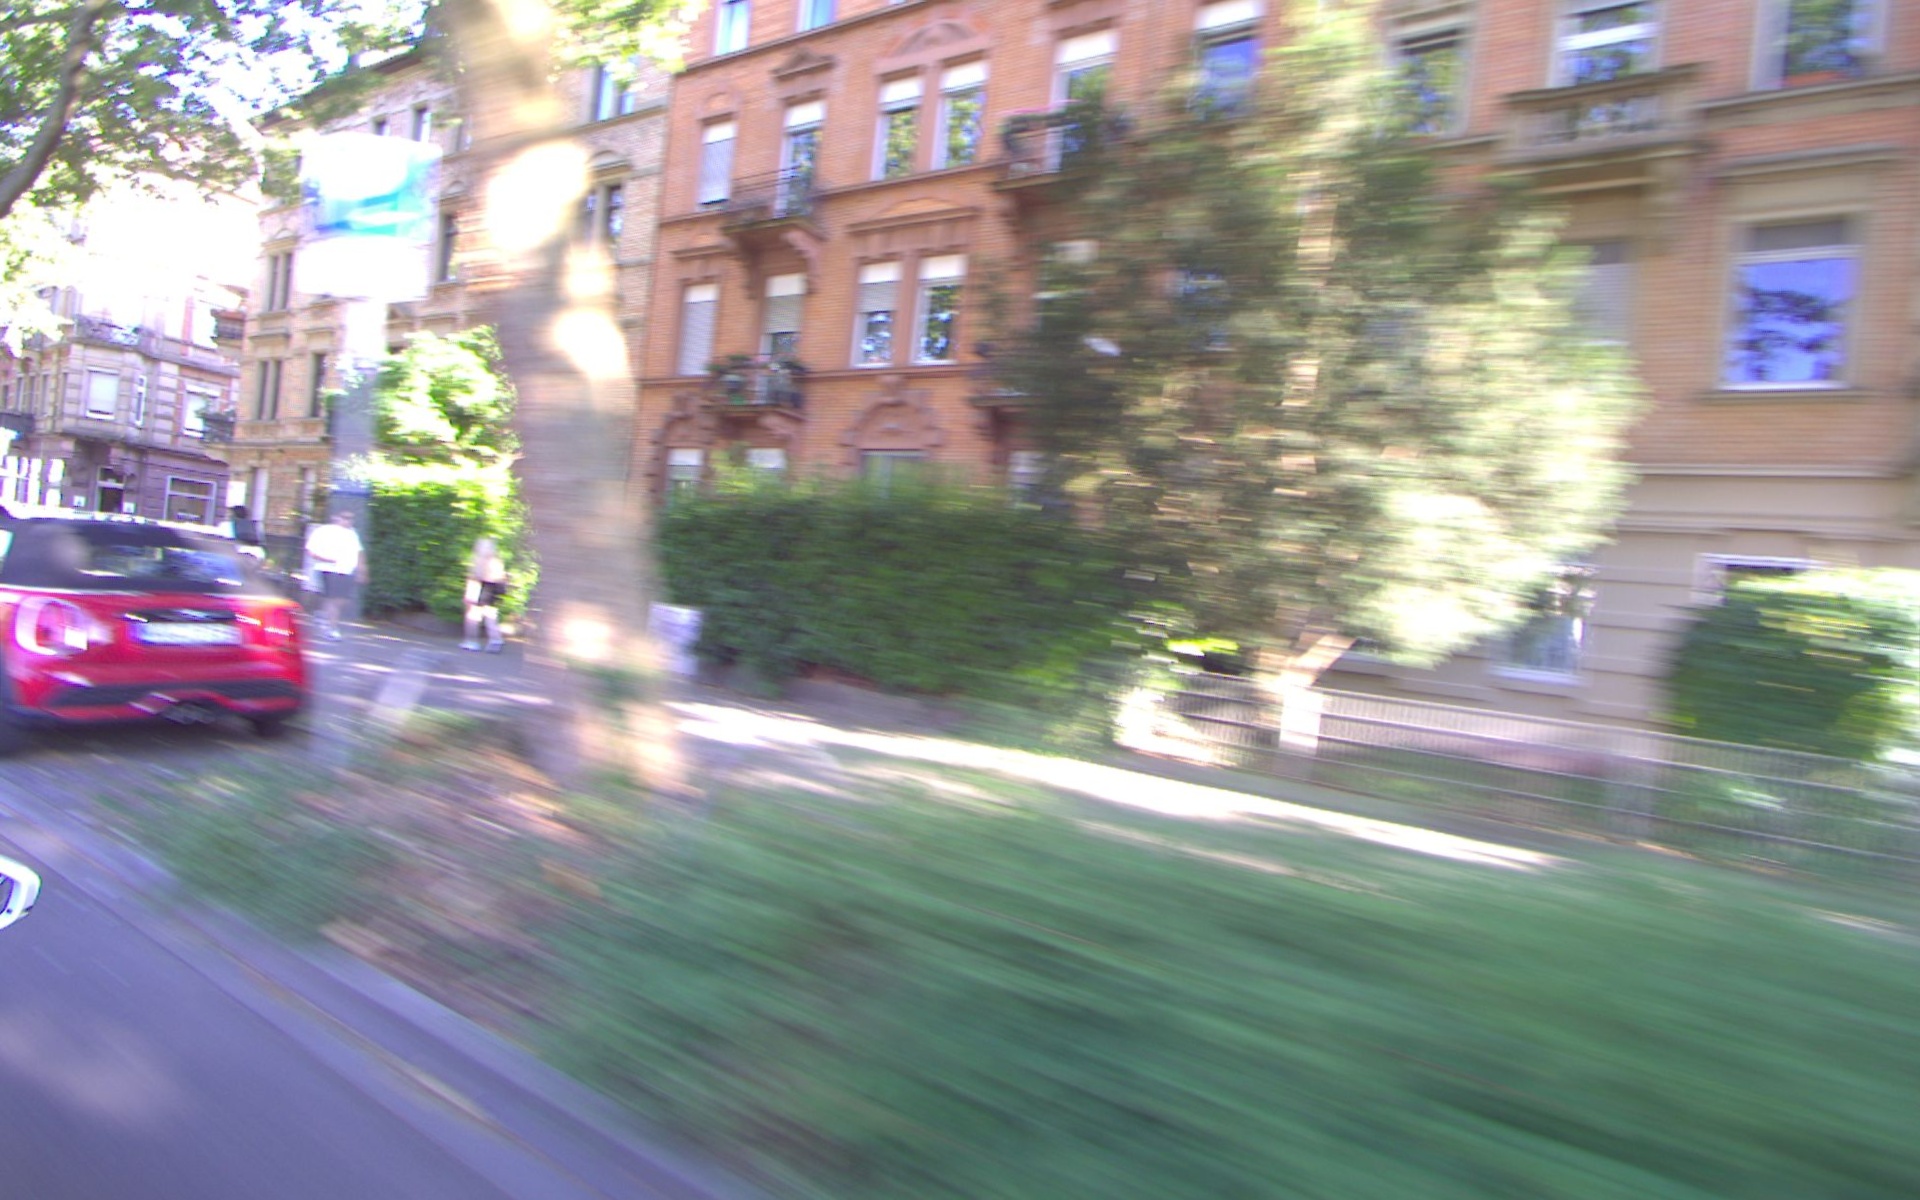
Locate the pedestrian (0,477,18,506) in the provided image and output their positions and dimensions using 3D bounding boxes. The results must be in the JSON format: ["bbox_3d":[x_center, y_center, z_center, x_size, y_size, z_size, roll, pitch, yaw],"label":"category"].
[{"bbox_3d":[-40.404,-4.617,42.623,0.517,1.153,0.556,7,2,32],"label":"pedestrian"}]

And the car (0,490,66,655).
[{"bbox_3d":[-11.213,-0.450,10.474,4.427,1.570,1.714,6,3,33],"label":"car"}]

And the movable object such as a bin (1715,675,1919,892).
[{"bbox_3d":[7.078,1.458,8.351,1.066,1.485,0.906,7,4,32],"label":"movable object such as a bin"}]

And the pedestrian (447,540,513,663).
[{"bbox_3d":[-6.744,0.017,14.133,0.607,1.651,0.529,8,5,33],"label":"pedestrian"}]

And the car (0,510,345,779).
[{"bbox_3d":[-6.451,0.144,7.310,3.934,1.481,1.716,6,0,32],"label":"car"}]

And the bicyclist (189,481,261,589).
[{"bbox_3d":[-10.119,-0.887,13.849,0.633,1.399,0.543,8,4,31],"label":"bicyclist"}]

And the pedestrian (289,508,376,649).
[{"bbox_3d":[-8.505,-0.283,13.636,0.633,1.809,0.689,8,4,31],"label":"pedestrian"}]

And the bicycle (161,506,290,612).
[{"bbox_3d":[-10.146,-0.583,13.870,2.189,1.193,0.561,8,1,31],"label":"bicycle"}]
